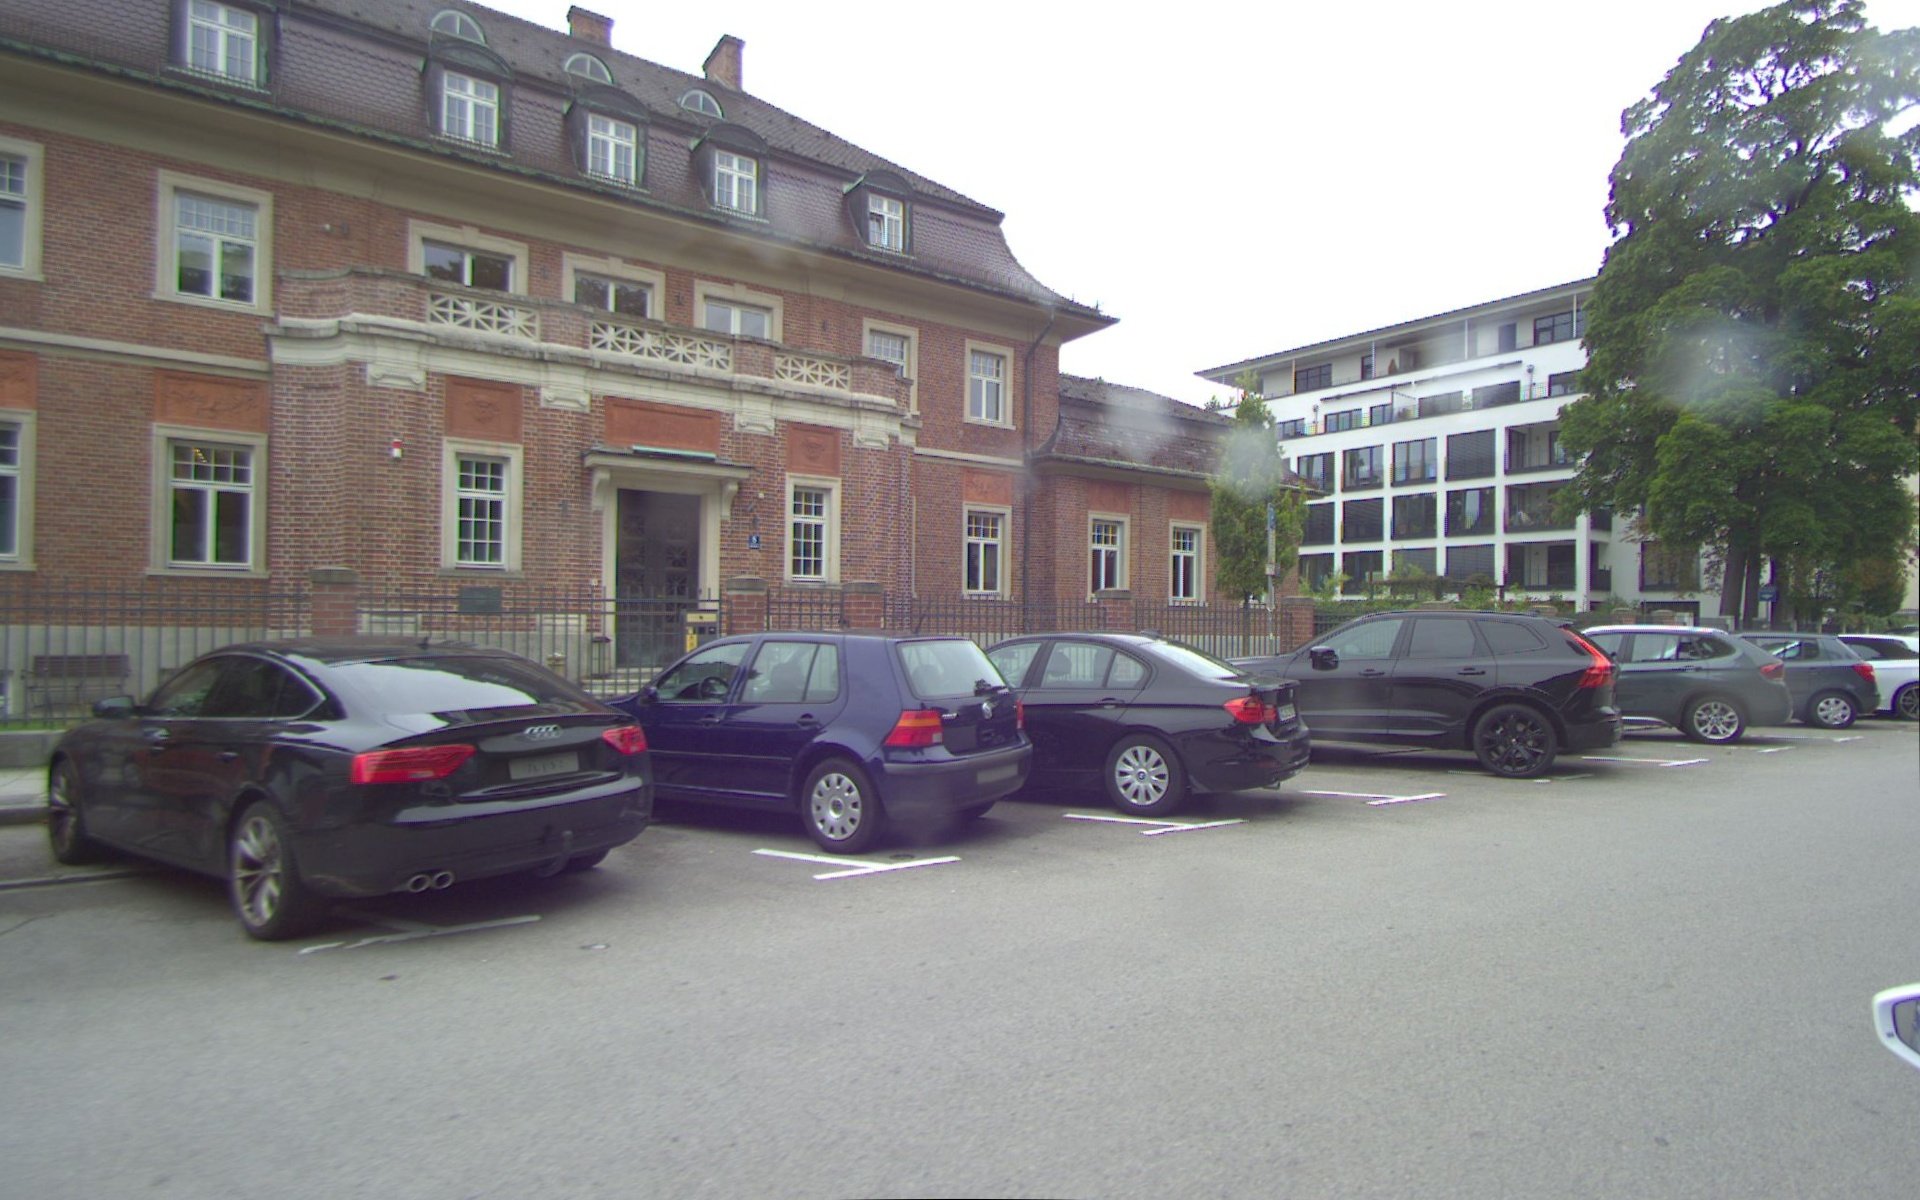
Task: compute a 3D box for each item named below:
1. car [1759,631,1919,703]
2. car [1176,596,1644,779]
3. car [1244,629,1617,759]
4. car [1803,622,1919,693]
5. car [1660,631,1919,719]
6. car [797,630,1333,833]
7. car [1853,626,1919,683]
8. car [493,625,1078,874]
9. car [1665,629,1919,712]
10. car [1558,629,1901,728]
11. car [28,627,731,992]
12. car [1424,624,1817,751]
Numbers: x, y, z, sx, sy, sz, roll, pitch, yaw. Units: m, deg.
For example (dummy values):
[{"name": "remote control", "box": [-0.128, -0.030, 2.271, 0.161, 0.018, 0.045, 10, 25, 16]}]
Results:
[{"name": "car", "box": [19.982, 1.404, 21.301, 4.326, 1.458, 1.966, 0, -2, 20]}, {"name": "car", "box": [4.903, 0.908, 11.293, 4.448, 1.686, 1.984, -2, -3, 31]}, {"name": "car", "box": [6.203, 1.194, 13.452, 4.256, 1.490, 1.816, -3, -3, 33]}, {"name": "car", "box": [24.189, 1.424, 25.058, 4.325, 1.721, 2.138, 0, -2, 19]}, {"name": "car", "box": [15.517, 1.309, 18.164, 4.433, 1.470, 1.895, -1, -2, 27]}, {"name": "car", "box": [0.858, 1.038, 9.117, 4.448, 1.436, 1.924, -2, -3, 31]}, {"name": "car", "box": [29.052, 1.582, 29.137, 4.333, 1.642, 2.083, -1, -2, 30]}, {"name": "car", "box": [-1.485, 0.991, 7.910, 4.448, 1.470, 1.817, -2, -3, 31]}, {"name": "car", "box": [16.976, 1.405, 20.074, 4.434, 1.529, 1.930, -3, -3, 27]}, {"name": "car", "box": [12.520, 1.234, 16.751, 4.317, 1.470, 1.654, -1, -2, 30]}, {"name": "car", "box": [-3.687, 0.940, 6.138, 4.451, 1.470, 1.972, -2, -3, 34]}, {"name": "car", "box": [9.181, 1.147, 14.437, 4.445, 1.588, 1.887, -1, -2, 29]}]
